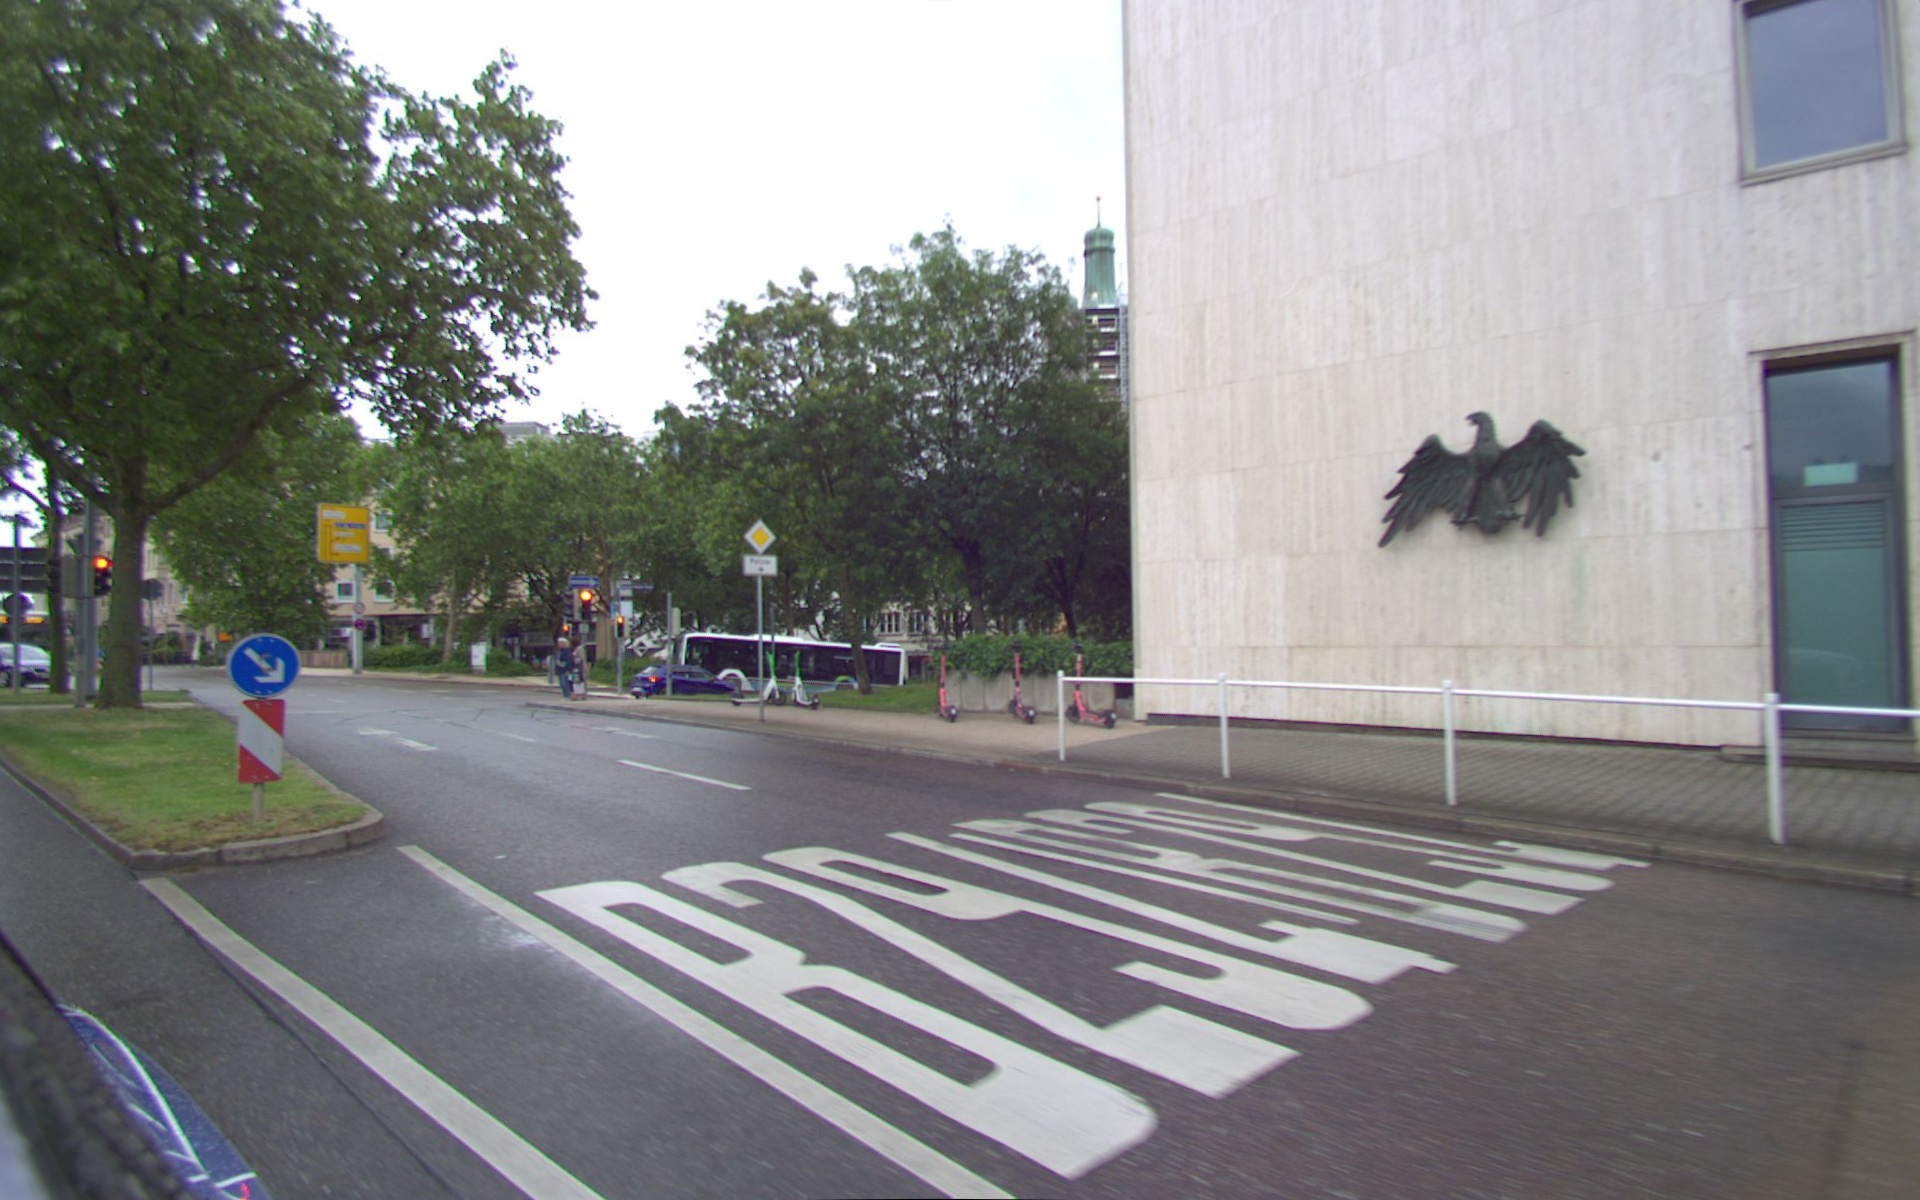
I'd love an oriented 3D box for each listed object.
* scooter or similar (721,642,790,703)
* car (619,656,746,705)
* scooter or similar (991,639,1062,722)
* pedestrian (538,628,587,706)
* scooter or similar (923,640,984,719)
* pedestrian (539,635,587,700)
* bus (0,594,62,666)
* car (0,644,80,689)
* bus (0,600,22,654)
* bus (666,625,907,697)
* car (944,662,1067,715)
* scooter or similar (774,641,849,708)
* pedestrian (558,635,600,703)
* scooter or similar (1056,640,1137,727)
[{"bbox_3d":[-4.062,1.418,20.083,1.500,1.176,0.483,-2,-4,38],"label":"scooter or similar"},{"bbox_3d":[-9.933,2.847,36.367,1.848,1.519,4.043,-2,-2,44],"label":"car"},{"bbox_3d":[0.989,1.201,15.438,0.599,1.201,1.532,1,-3,-15],"label":"scooter or similar"},{"bbox_3d":[-10.766,1.815,27.439,0.923,2.061,0.874,4,-4,-41],"label":"pedestrian"},{"bbox_3d":[-0.126,1.247,16.160,0.599,1.201,1.532,1,-3,-15],"label":"scooter or similar"},{"bbox_3d":[-9.985,1.692,25.464,0.921,1.615,0.648,-2,-3,30],"label":"pedestrian"},{"bbox_3d":[-50.504,1.681,53.366,12.549,3.466,2.925,-3,-4,40],"label":"bus"},{"bbox_3d":[-31.734,2.199,33.869,4.389,1.420,1.806,-1,-3,26],"label":"car"},{"bbox_3d":[-59.959,1.637,61.897,8.836,3.156,2.724,-1,-2,40],"label":"bus"},{"bbox_3d":[-8.759,3.212,52.198,11.767,3.042,2.898,5,-5,-27],"label":"bus"},{"bbox_3d":[1.850,3.526,40.648,4.509,1.980,2.006,3,-4,-28],"label":"car"},{"bbox_3d":[-2.792,1.370,18.985,1.575,1.201,0.563,-3,-4,45],"label":"scooter or similar"},{"bbox_3d":[-9.979,1.798,26.499,0.795,1.723,0.648,-2,-4,33],"label":"pedestrian"},{"bbox_3d":[1.927,1.165,14.502,0.599,1.173,1.532,1,-3,-15],"label":"scooter or similar"}]
